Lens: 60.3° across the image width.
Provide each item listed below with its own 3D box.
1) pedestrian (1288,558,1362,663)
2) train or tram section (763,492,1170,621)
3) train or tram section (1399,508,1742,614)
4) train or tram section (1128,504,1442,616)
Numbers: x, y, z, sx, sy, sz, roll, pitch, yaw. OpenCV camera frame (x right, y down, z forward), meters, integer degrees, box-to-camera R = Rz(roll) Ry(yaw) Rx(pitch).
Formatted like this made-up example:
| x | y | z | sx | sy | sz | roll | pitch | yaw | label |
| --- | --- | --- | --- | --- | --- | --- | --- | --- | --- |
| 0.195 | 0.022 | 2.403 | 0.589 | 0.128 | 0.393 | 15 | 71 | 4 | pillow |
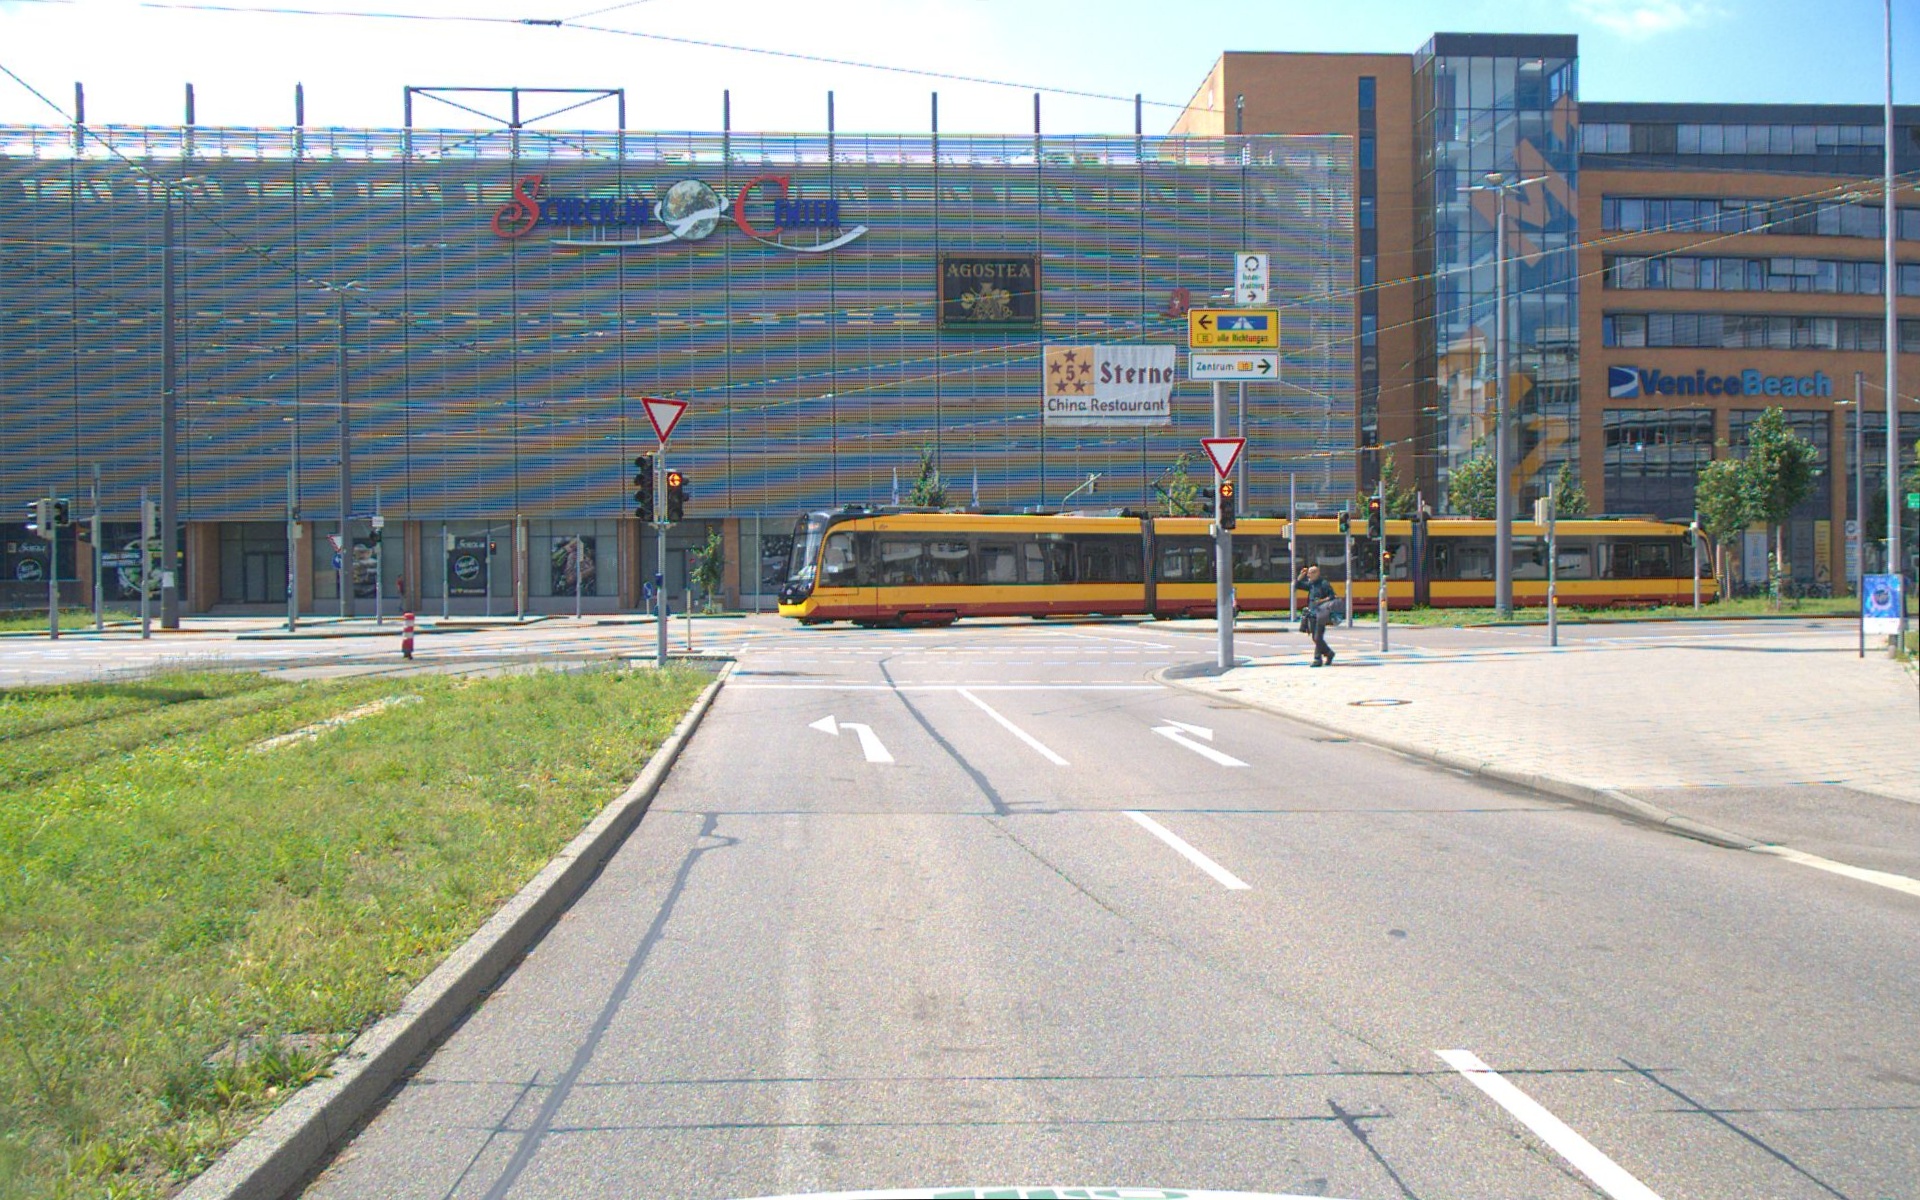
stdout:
| x | y | z | sx | sy | sz | roll | pitch | yaw | label |
| --- | --- | --- | --- | --- | --- | --- | --- | --- | --- |
| 6.218 | 0.175 | 28.187 | 0.798 | 1.732 | 0.908 | -2 | 0 | -33 | pedestrian |
| 0.504 | -1.257 | 51.936 | 13.336 | 3.662 | 3.189 | 0 | 1 | -34 | train or tram section |
| 22.602 | -1.371 | 61.261 | 12.381 | 3.684 | 3.054 | 0 | 1 | -14 | train or tram section |
| 11.386 | -1.319 | 57.747 | 10.797 | 3.666 | 3.047 | 0 | 1 | -21 | train or tram section |
